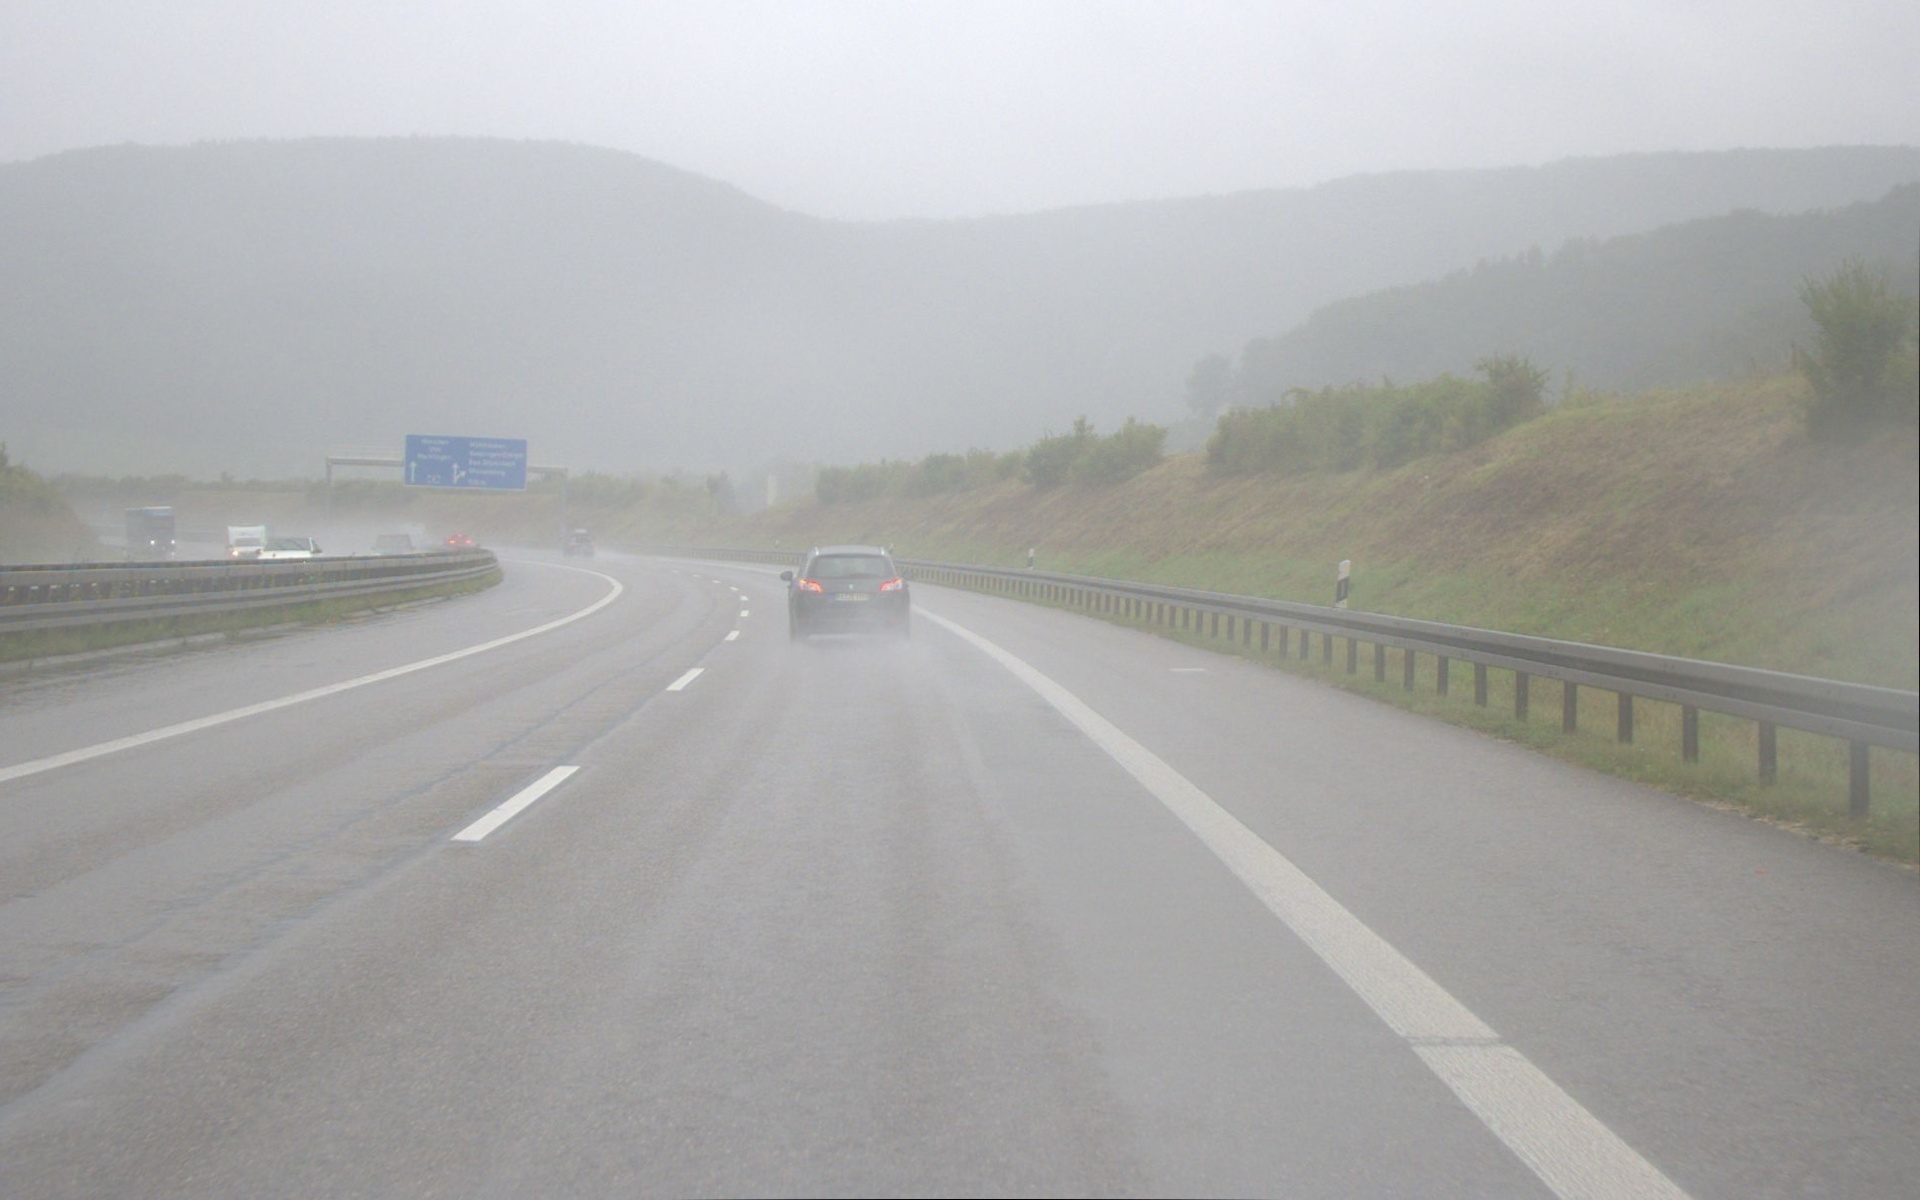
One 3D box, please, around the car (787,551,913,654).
[{"bbox_3d":[-1.686,0.011,51.643,1.679,1.467,3.815,0,1,-5],"label":"car"}]
